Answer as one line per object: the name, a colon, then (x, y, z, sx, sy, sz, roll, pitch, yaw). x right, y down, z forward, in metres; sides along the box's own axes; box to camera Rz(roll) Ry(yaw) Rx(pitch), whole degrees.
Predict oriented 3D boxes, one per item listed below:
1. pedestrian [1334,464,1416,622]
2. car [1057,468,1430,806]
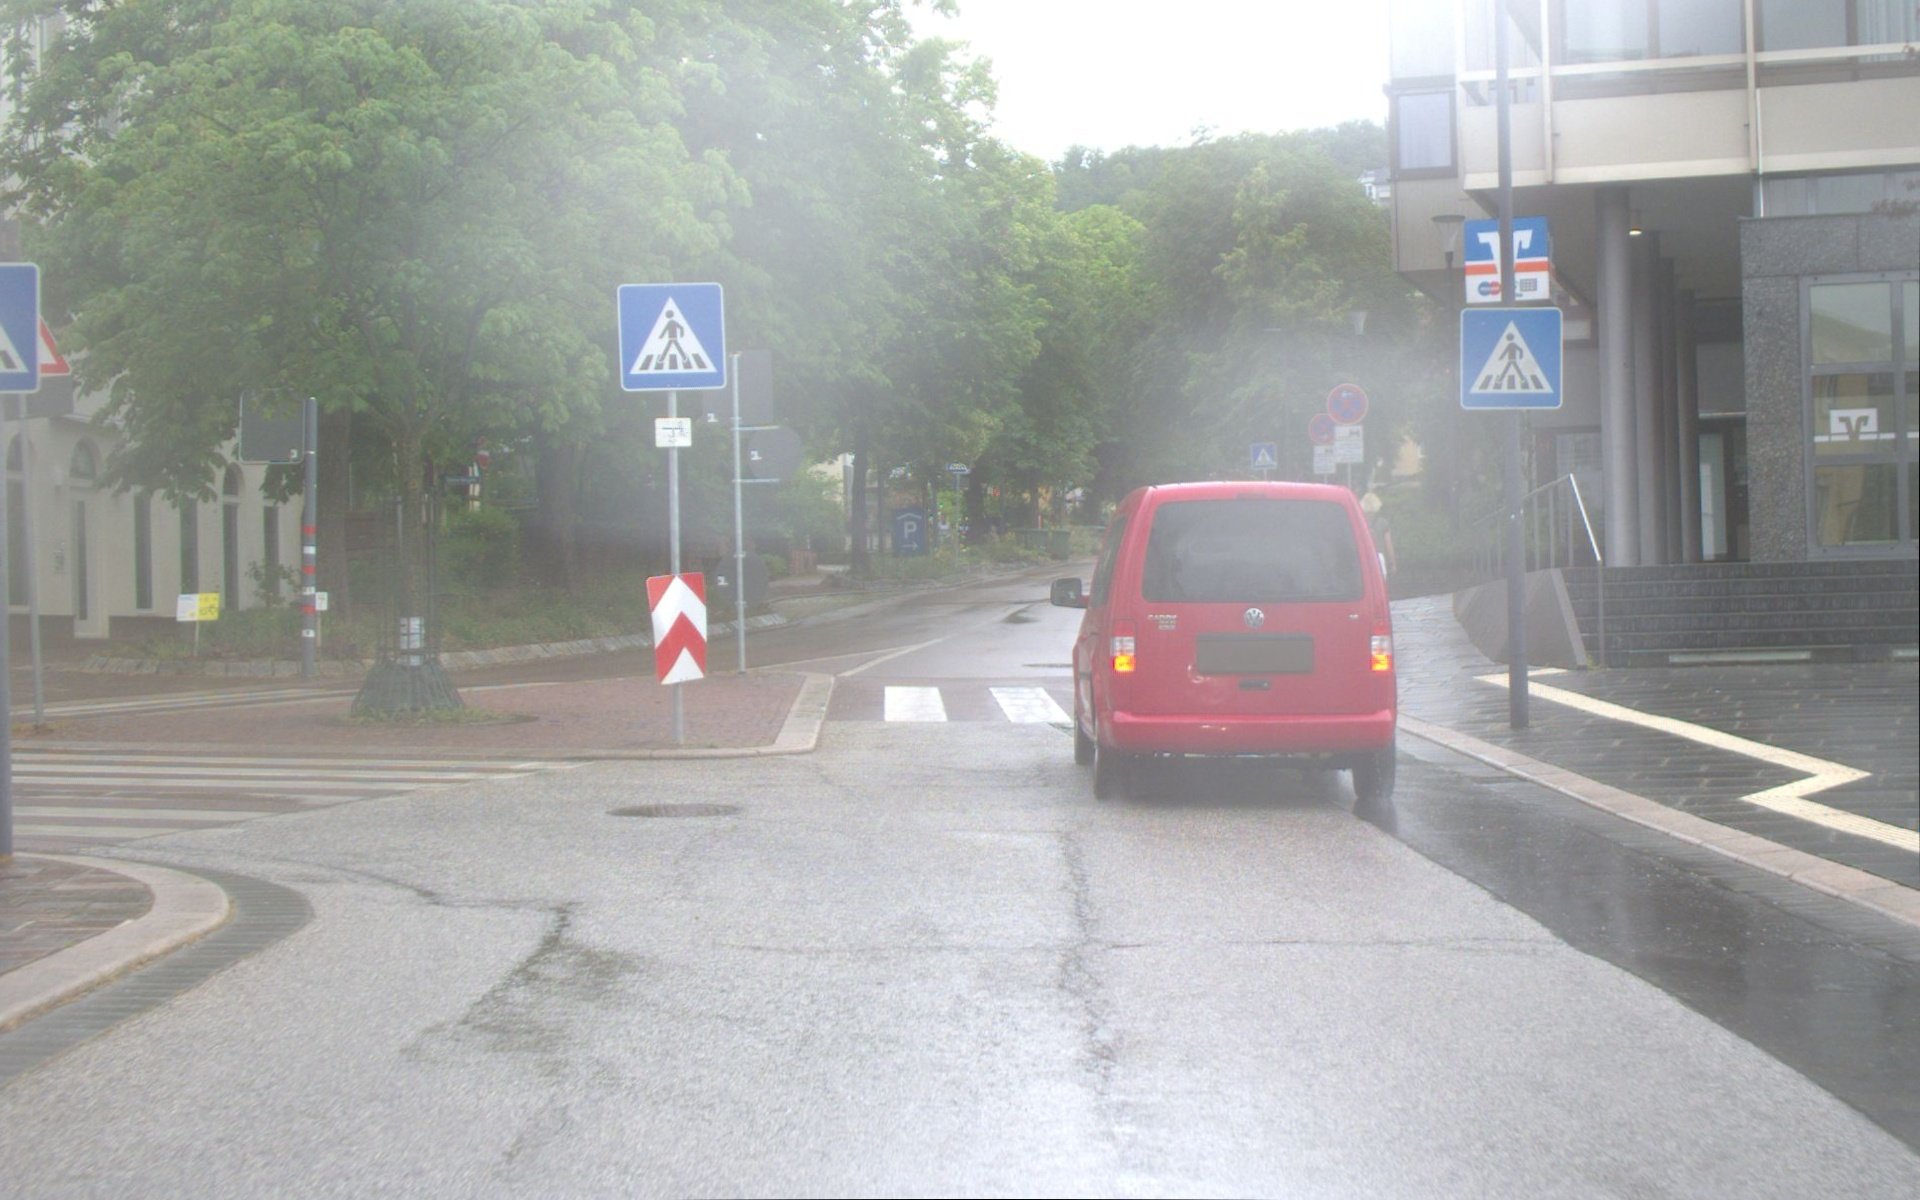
pedestrian: (4.855, -0.673, 40.214, 0.835, 1.823, 0.815, 1, 1, 13)
car: (1.625, 0.183, 21.062, 1.862, 1.824, 4.185, -1, 1, 0)
